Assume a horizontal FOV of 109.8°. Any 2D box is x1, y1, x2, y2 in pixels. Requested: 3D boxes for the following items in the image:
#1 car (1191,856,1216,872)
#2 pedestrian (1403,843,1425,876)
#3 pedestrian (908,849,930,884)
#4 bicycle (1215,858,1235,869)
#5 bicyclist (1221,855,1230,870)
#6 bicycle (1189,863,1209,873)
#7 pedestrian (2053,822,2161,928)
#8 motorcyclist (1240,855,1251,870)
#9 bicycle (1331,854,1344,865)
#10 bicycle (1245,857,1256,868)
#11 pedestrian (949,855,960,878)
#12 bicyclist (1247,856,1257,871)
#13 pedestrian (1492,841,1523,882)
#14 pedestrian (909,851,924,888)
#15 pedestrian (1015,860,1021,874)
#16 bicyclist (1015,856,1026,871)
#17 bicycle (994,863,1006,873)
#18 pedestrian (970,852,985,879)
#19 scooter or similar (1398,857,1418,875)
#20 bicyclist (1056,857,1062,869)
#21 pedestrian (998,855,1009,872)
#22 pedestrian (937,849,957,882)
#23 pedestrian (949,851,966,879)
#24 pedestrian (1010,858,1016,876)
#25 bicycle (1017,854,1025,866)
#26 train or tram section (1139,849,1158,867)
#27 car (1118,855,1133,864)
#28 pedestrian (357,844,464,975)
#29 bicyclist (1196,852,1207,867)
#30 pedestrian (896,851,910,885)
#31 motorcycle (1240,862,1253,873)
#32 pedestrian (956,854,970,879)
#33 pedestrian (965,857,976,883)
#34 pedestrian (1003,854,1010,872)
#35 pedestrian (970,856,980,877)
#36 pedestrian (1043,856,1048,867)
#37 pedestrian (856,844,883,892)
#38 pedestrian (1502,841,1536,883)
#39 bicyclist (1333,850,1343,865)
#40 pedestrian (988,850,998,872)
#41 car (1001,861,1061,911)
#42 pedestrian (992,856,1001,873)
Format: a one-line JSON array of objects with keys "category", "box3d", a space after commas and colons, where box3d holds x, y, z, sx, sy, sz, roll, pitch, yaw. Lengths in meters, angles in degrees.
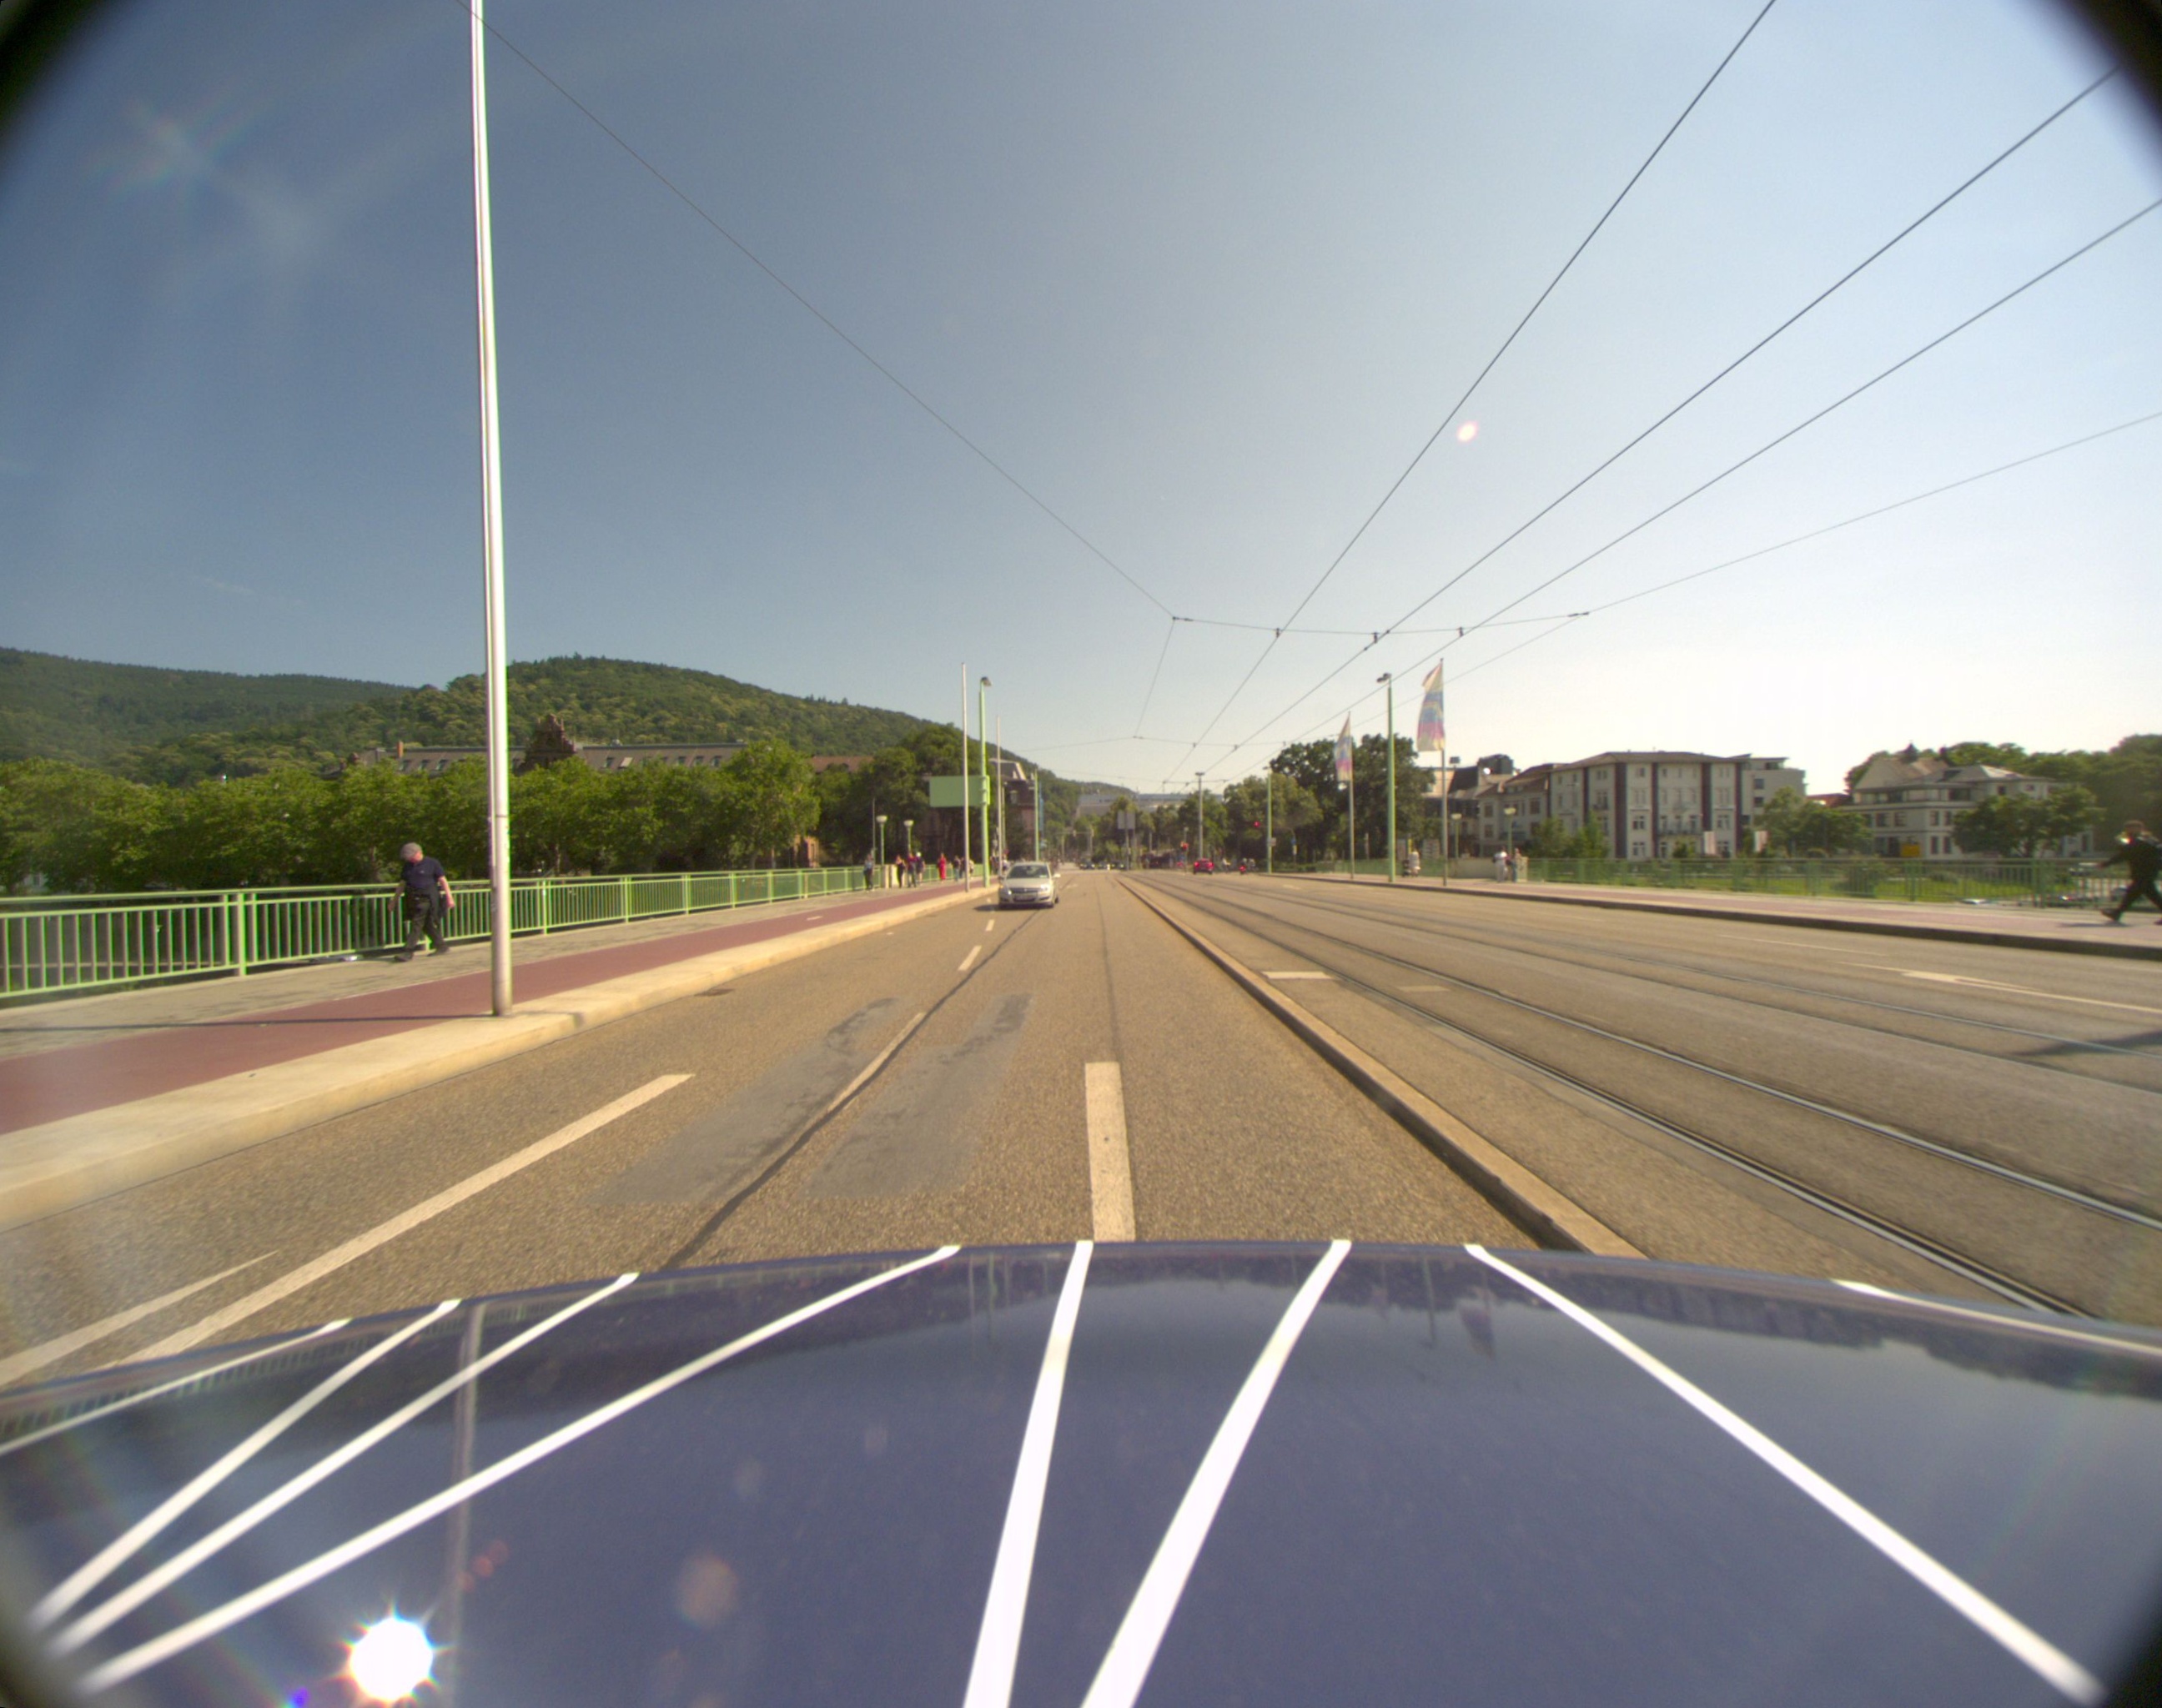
[{"category": "car", "box3d": [11.718, 0.938, 73.018, 1.998, 1.506, 4.191, -1, 0, 4]}, {"category": "pedestrian", "box3d": [19.703, 0.318, 44.923, 0.740, 1.842, 0.975, -4, 0, -2]}, {"category": "pedestrian", "box3d": [-8.911, 0.690, 41.772, 0.987, 1.884, 1.254, -1, 1, -4]}, {"category": "bicycle", "box3d": [15.145, 1.030, 80.001, 1.916, 1.107, 0.762, -1, 1, 18]}, {"category": "bicyclist", "box3d": [15.196, 0.873, 79.985, 0.770, 1.600, 0.881, 0, 1, 18]}, {"category": "bicycle", "box3d": [12.678, 1.515, 81.705, 1.915, 1.107, 0.763, 0, 1, 33]}, {"category": "pedestrian", "box3d": [18.335, 0.346, 13.249, 1.100, 1.748, 1.295, -1, 0, -2]}, {"category": "motorcyclist", "box3d": [16.018, 0.843, 73.905, 0.847, 1.393, 0.898, -2, 0, -2]}, {"category": "bicycle", "box3d": [27.684, 0.607, 81.943, 0.760, 1.107, 1.920, -1, 1, 1]}, {"category": "bicycle", "box3d": [17.839, 0.865, 79.850, 0.760, 1.107, 1.921, -3, -2, 3]}, {"category": "pedestrian", "box3d": [-9.181, 0.920, 55.165, 0.651, 1.622, 0.692, -2, 0, 2]}, {"category": "bicyclist", "box3d": [17.962, 1.035, 80.001, 0.879, 1.599, 0.772, 1, -1, 3]}, {"category": "pedestrian", "box3d": [19.276, 0.320, 34.348, 0.740, 1.774, 0.957, -4, 0, -2]}, {"category": "pedestrian", "box3d": [-8.067, 0.753, 37.236, 0.587, 1.783, 0.632, -1, 1, -4]}, {"category": "pedestrian", "box3d": [-8.800, 1.793, 105.910, 0.777, 2.002, 1.059, 0, 0, -4]}, {"category": "bicyclist", "box3d": [-5.562, 0.864, 70.051, 0.912, 1.385, 1.232, -1, 1, -1]}, {"category": "bicycle", "box3d": [-11.141, 1.899, 105.097, 0.801, 1.199, 2.276, 2, 4, 18]}, {"category": "pedestrian", "box3d": [-6.994, 0.767, 51.375, 0.988, 1.740, 0.929, -1, 1, -5]}, {"category": "scooter or similar", "box3d": [19.718, 0.737, 45.837, 0.740, 1.023, 0.832, -4, 0, -2]}, {"category": "bicyclist", "box3d": [-3.555, 1.445, 121.211, 0.944, 2.002, 0.830, 0, 0, -5]}, {"category": "pedestrian", "box3d": [-7.434, 0.917, 72.572, 0.988, 1.606, 0.921, -1, 1, -5]}, {"category": "pedestrian", "box3d": [-7.973, 0.691, 45.212, 1.018, 1.942, 0.939, -1, 1, -1]}, {"category": "pedestrian", "box3d": [-7.995, 0.709, 49.137, 0.988, 1.759, 1.254, 0, 0, -5]}, {"category": "pedestrian", "box3d": [-6.688, 1.258, 75.140, 0.550, 1.788, 0.645, -1, 1, -5]}, {"category": "bicycle", "box3d": [-5.504, 0.586, 69.934, 0.643, 1.076, 2.496, 0, 0, -1]}, {"category": "train or tram section", "box3d": [13.620, 0.819, 153.106, 2.768, 3.383, 5.884, 0, 0, -5]}, {"category": "car", "box3d": [6.882, 0.858, 118.195, 1.753, 1.477, 4.746, 1, 0, -3]}, {"category": "pedestrian", "box3d": [-9.341, 0.746, 10.633, 0.656, 1.733, 0.978, -1, -1, -5]}, {"category": "bicyclist", "box3d": [12.935, 0.627, 81.608, 0.877, 1.600, 0.773, 0, 1, 34]}, {"category": "pedestrian", "box3d": [-8.736, 0.697, 37.251, 0.524, 1.640, 0.699, -1, 1, -5]}, {"category": "motorcycle", "box3d": [16.028, 1.279, 73.614, 0.847, 1.019, 1.951, -2, 0, 0]}, {"category": "pedestrian", "box3d": [-7.924, 0.811, 51.080, 0.836, 1.667, 0.885, -1, 1, -5]}, {"category": "pedestrian", "box3d": [-7.072, 0.989, 48.654, 0.656, 1.640, 0.868, -1, 1, -5]}, {"category": "pedestrian", "box3d": [-7.327, 0.871, 74.777, 0.697, 1.706, 0.731, -1, 1, -5]}, {"category": "pedestrian", "box3d": [-7.895, 0.906, 56.770, 0.651, 1.553, 0.692, 0, 0, 2]}, {"category": "pedestrian", "box3d": [-5.565, 1.143, 118.820, 0.814, 1.593, 0.815, 2, 0, -5]}, {"category": "pedestrian", "box3d": [-9.003, 0.570, 32.415, 0.876, 2.002, 1.058, -1, 1, -5]}, {"category": "pedestrian", "box3d": [19.919, 0.350, 34.572, 0.740, 1.838, 1.121, -4, 0, -2]}, {"category": "bicyclist", "box3d": [27.680, 0.334, 81.811, 0.879, 1.600, 0.772, -1, 1, 1]}, {"category": "pedestrian", "box3d": [-8.402, 0.669, 72.623, 0.805, 2.002, 0.954, -1, 1, -5]}, {"category": "car", "box3d": [-1.740, 0.987, 25.106, 1.803, 1.492, 4.495, 0, 0, -6]}, {"category": "pedestrian", "box3d": [-8.507, 1.048, 76.557, 0.801, 1.625, 0.949, -1, 0, -6]}]
